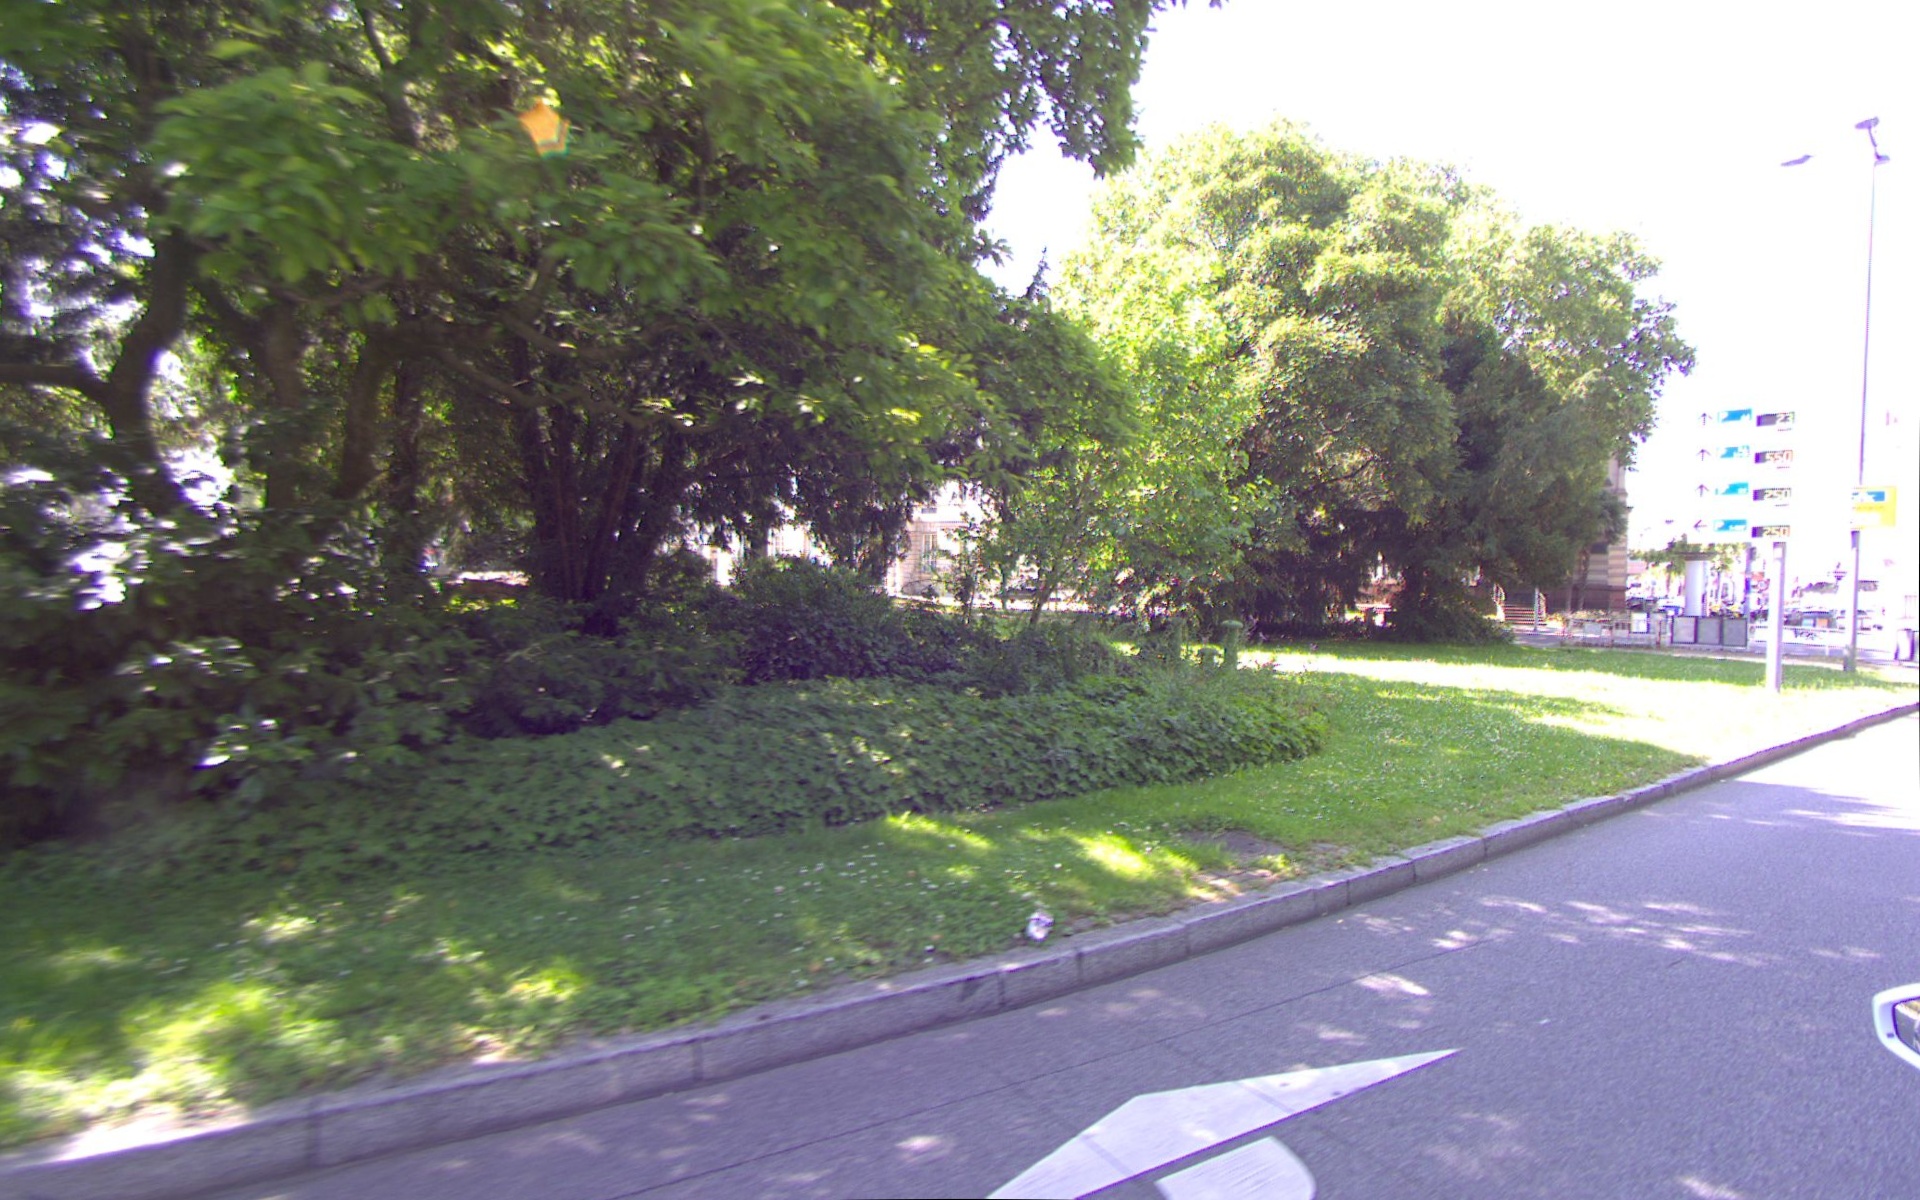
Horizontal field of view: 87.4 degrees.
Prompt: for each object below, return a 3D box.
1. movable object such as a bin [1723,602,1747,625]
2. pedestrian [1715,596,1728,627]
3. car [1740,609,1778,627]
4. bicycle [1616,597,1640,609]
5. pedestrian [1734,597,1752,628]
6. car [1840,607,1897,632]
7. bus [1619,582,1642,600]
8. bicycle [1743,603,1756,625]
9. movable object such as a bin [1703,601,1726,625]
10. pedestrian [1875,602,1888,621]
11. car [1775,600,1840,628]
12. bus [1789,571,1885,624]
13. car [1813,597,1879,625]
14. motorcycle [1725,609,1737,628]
[{"bbox_3d":[52.358,0.894,67.887,1.109,1.470,1.433,4,4,35],"label":"movable object such as a bin"},{"bbox_3d":[42.659,0.640,56.275,0.542,1.687,0.933,1,0,38],"label":"pedestrian"},{"bbox_3d":[66.555,1.505,83.718,1.835,1.460,3.994,2,-1,29],"label":"car"},{"bbox_3d":[71.306,0.298,107.270,2.032,1.145,0.464,4,2,23],"label":"bicycle"},{"bbox_3d":[43.139,0.684,55.336,0.684,1.717,0.689,1,0,32],"label":"pedestrian"},{"bbox_3d":[58.177,1.229,64.385,1.806,1.547,3.993,0,-1,29],"label":"car"},{"bbox_3d":[138.884,-1.905,208.217,2.727,3.654,8.962,1,1,26],"label":"bus"},{"bbox_3d":[43.534,0.790,55.387,0.424,1.135,2.232,4,1,40],"label":"bicycle"},{"bbox_3d":[51.454,0.875,68.540,1.109,1.470,1.433,4,4,35],"label":"movable object such as a bin"},{"bbox_3d":[79.318,0.967,86.491,0.636,1.639,0.820,1,0,32],"label":"pedestrian"},{"bbox_3d":[45.011,0.708,53.431,1.908,1.373,4.240,1,1,31],"label":"car"},{"bbox_3d":[69.709,-0.285,80.145,2.838,3.792,12.405,4,2,28],"label":"bus"},{"bbox_3d":[50.286,0.611,57.097,1.835,1.460,3.994,1,1,27],"label":"car"},{"bbox_3d":[43.020,1.007,56.042,0.448,1.011,2.151,4,2,39],"label":"motorcycle"}]
